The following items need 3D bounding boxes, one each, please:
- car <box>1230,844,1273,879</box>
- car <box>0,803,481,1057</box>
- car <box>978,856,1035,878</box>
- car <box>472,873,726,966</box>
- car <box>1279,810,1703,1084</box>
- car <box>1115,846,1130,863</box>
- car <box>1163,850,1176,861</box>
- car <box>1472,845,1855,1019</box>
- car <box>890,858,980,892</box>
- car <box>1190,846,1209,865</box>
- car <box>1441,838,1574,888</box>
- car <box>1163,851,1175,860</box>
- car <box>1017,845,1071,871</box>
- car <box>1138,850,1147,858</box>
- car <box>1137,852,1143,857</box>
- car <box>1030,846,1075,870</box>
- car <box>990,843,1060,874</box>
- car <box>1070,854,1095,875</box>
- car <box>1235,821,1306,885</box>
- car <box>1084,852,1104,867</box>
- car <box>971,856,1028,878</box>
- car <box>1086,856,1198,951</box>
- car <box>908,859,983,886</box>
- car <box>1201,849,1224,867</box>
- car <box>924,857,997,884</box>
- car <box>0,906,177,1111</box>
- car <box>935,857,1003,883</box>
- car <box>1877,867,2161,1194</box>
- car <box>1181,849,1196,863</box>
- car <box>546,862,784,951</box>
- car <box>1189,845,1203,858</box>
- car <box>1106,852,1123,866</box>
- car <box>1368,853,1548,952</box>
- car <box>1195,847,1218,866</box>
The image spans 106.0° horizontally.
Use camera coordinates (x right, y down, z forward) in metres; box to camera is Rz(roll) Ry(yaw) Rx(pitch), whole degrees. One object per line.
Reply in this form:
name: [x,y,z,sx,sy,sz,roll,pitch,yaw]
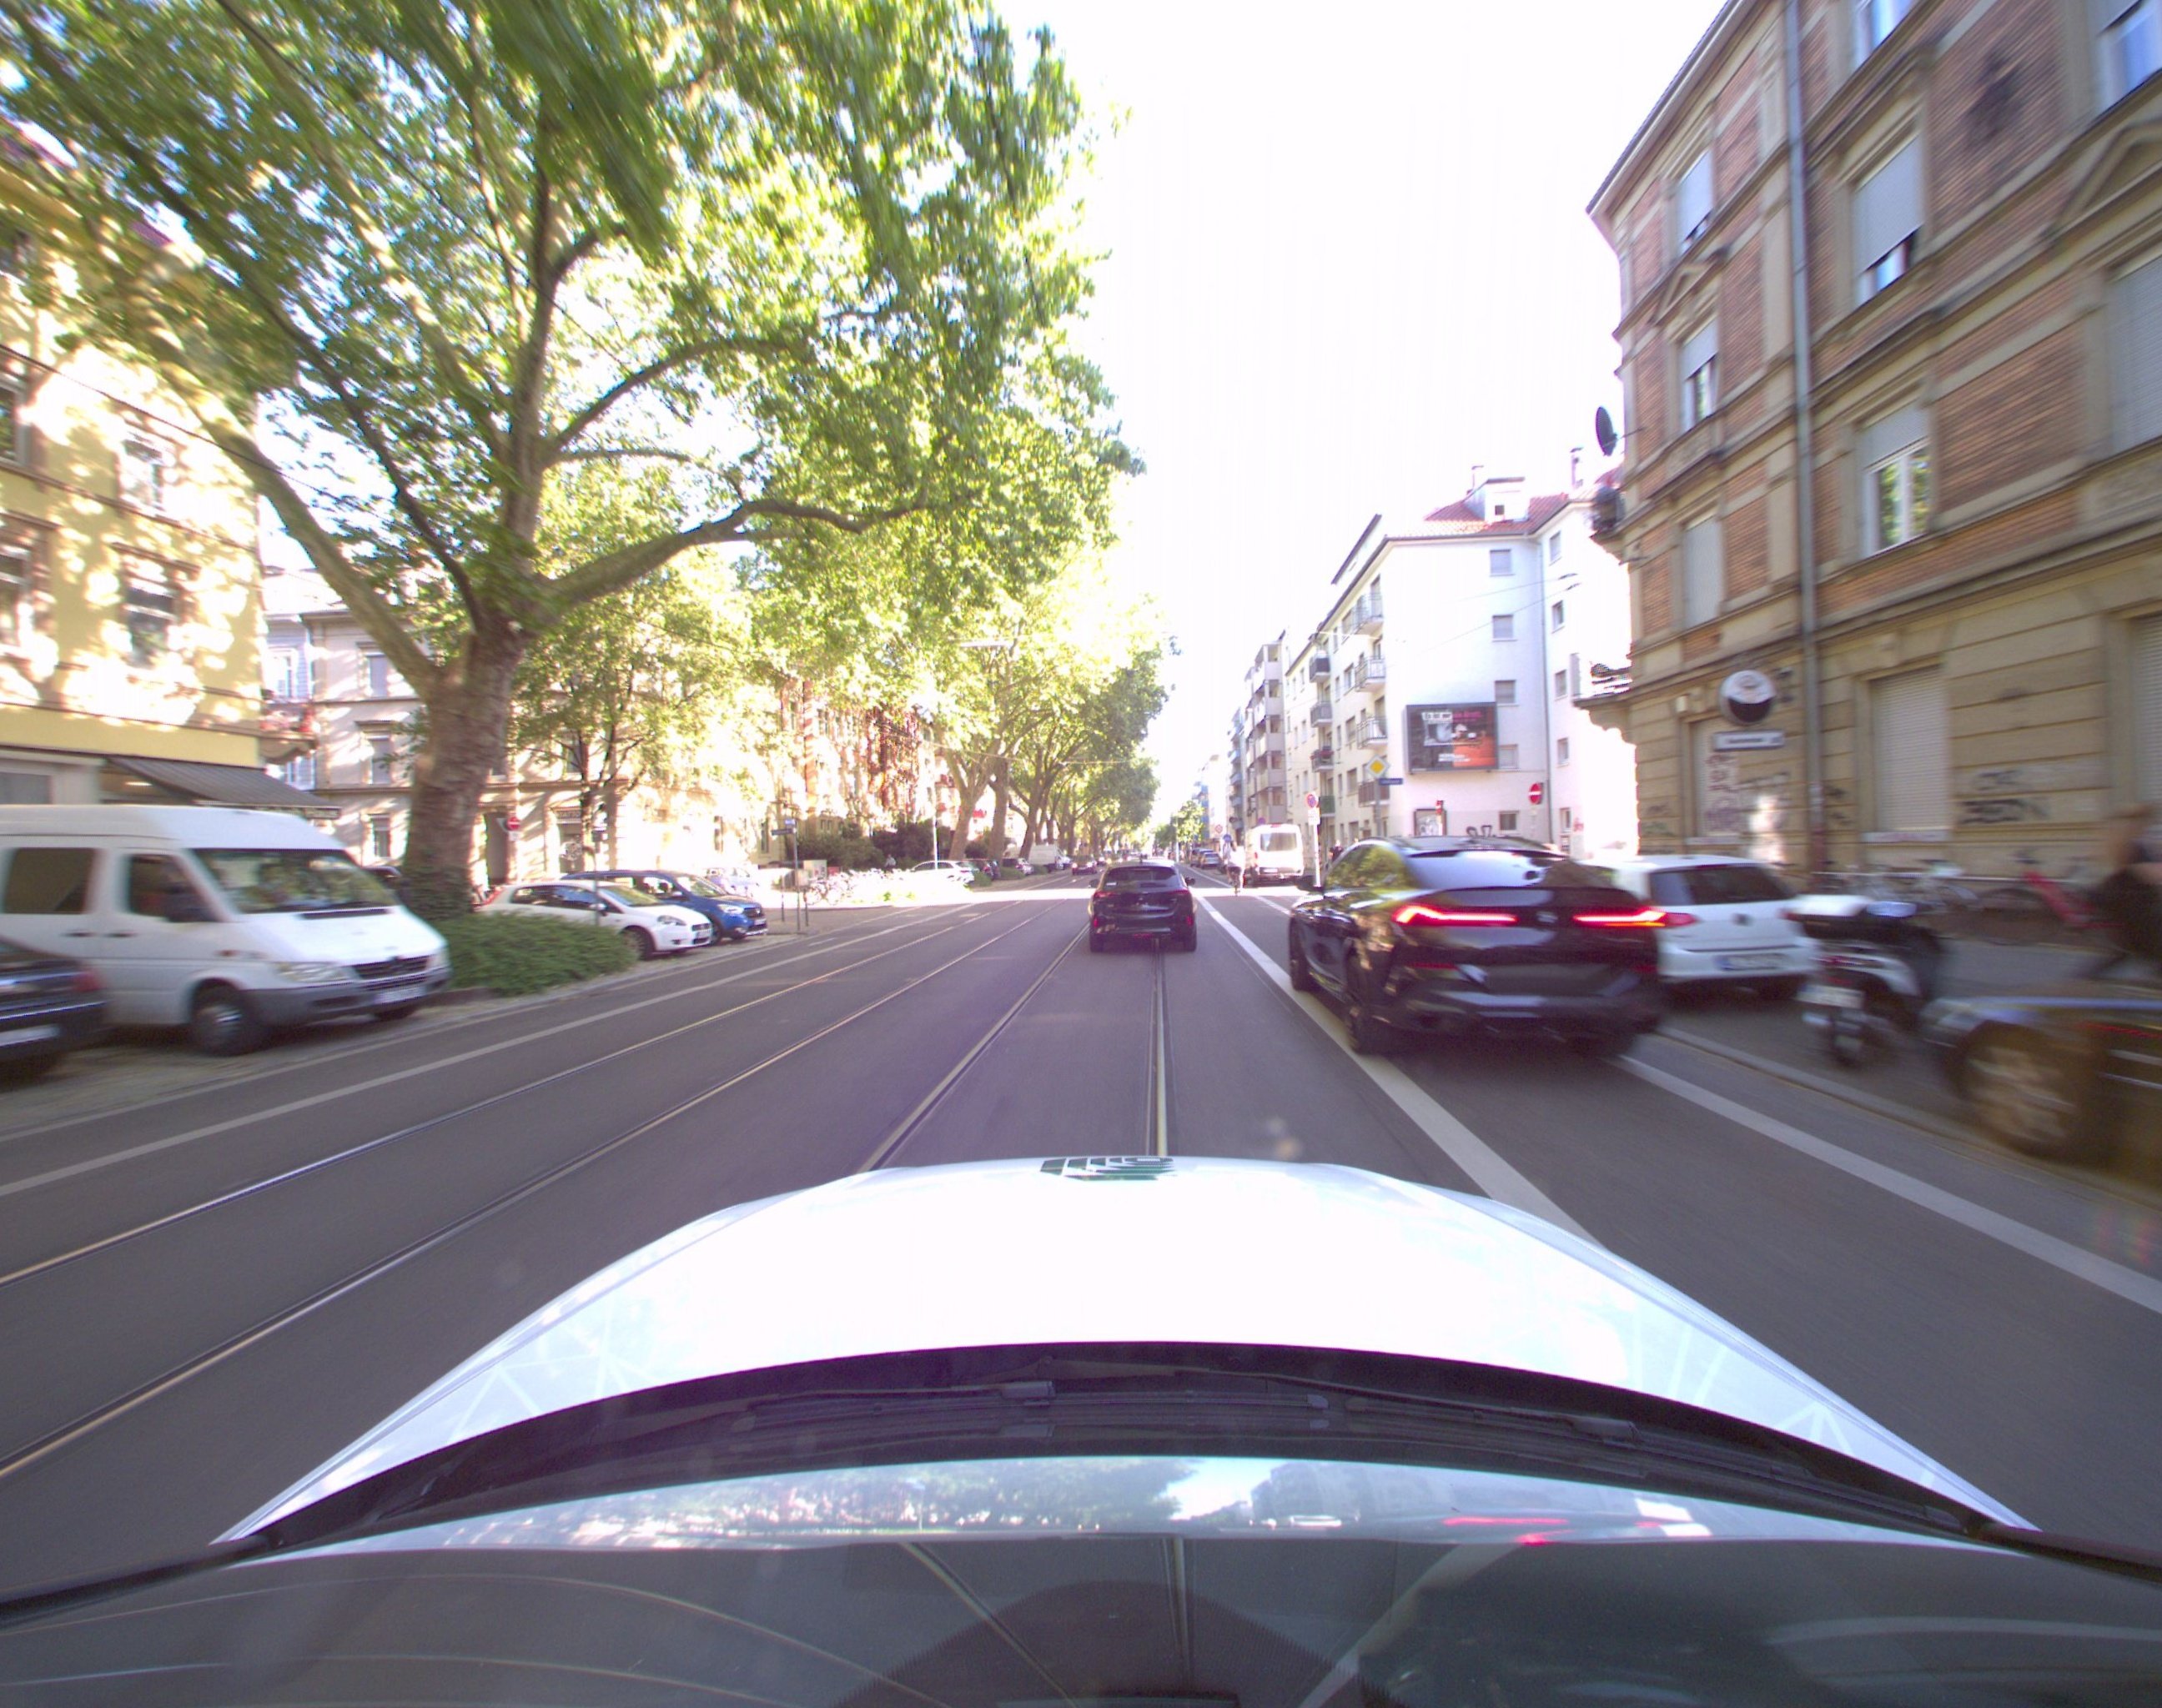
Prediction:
car: [9.513,0.393,45.748,1.849,1.820,4.358,-2,0,5]
car: [-10.536,0.710,8.976,6.570,2.407,2.003,0,1,5]
car: [-5.561,0.940,61.321,3.968,1.496,1.833,-2,0,5]
car: [-9.080,1.201,15.570,3.755,1.518,1.749,-2,0,1]
car: [3.140,0.600,7.478,1.934,1.704,4.638,-2,0,6]
car: [5.492,0.052,107.651,1.909,2.227,4.964,-2,0,3]
car: [13.938,0.190,128.076,1.849,1.651,4.007,-2,0,6]
car: [6.004,0.690,9.075,1.594,1.420,4.019,-4,-1,5]
car: [-7.133,1.020,40.044,3.969,1.460,1.881,-2,-1,4]
car: [12.486,0.166,85.938,1.849,1.890,4.933,-2,0,6]
car: [14.500,0.304,27.870,3.627,1.574,1.795,-2,0,10]
car: [17.392,0.259,160.462,1.987,1.640,4.001,-2,0,1]
car: [-3.818,0.424,85.265,5.335,2.477,2.060,-2,0,5]
car: [13.330,0.066,177.088,1.741,1.651,4.007,-2,0,6]
car: [17.168,0.037,236.595,1.672,1.422,3.632,0,0,4]
car: [-3.252,0.436,94.009,4.925,2.567,2.083,-2,0,1]
car: [-4.848,0.354,70.758,5.713,2.536,2.165,-1,0,5]
car: [0.129,0.747,61.298,1.628,1.510,3.695,-2,0,3]
car: [8.212,-0.031,35.889,2.139,2.495,6.096,-2,0,4]
car: [1.625,0.605,100.660,1.984,1.700,4.490,-3,0,5]
car: [-5.860,0.946,58.692,3.775,1.460,1.707,-1,0,5]
car: [1.061,0.752,14.061,1.672,1.422,3.632,0,0,4]
car: [-7.831,1.063,47.158,3.966,1.369,1.608,-2,0,6]
car: [11.422,0.334,70.902,1.715,1.525,4.521,-2,0,6]
car: [-7.257,0.990,49.322,3.966,1.460,1.773,-2,0,6]
car: [-10.293,1.213,6.495,4.127,1.497,1.906,0,-1,3]
car: [-7.149,1.014,52.110,3.966,1.460,1.707,-2,0,6]
car: [5.313,0.752,2.795,1.641,1.272,3.729,-4,-1,4]
car: [13.627,0.272,103.411,1.849,1.651,4.007,-2,0,6]
car: [-9.169,1.126,18.191,4.304,1.712,1.817,-2,0,1]
car: [15.654,-0.296,110.965,1.849,1.651,4.007,-2,0,6]
car: [3.705,0.520,89.489,1.711,1.510,3.726,-2,0,3]
car: [6.478,0.750,14.498,1.640,1.420,4.067,-4,-1,6]
car: [11.947,0.263,77.816,1.759,1.705,4.288,-2,0,4]
